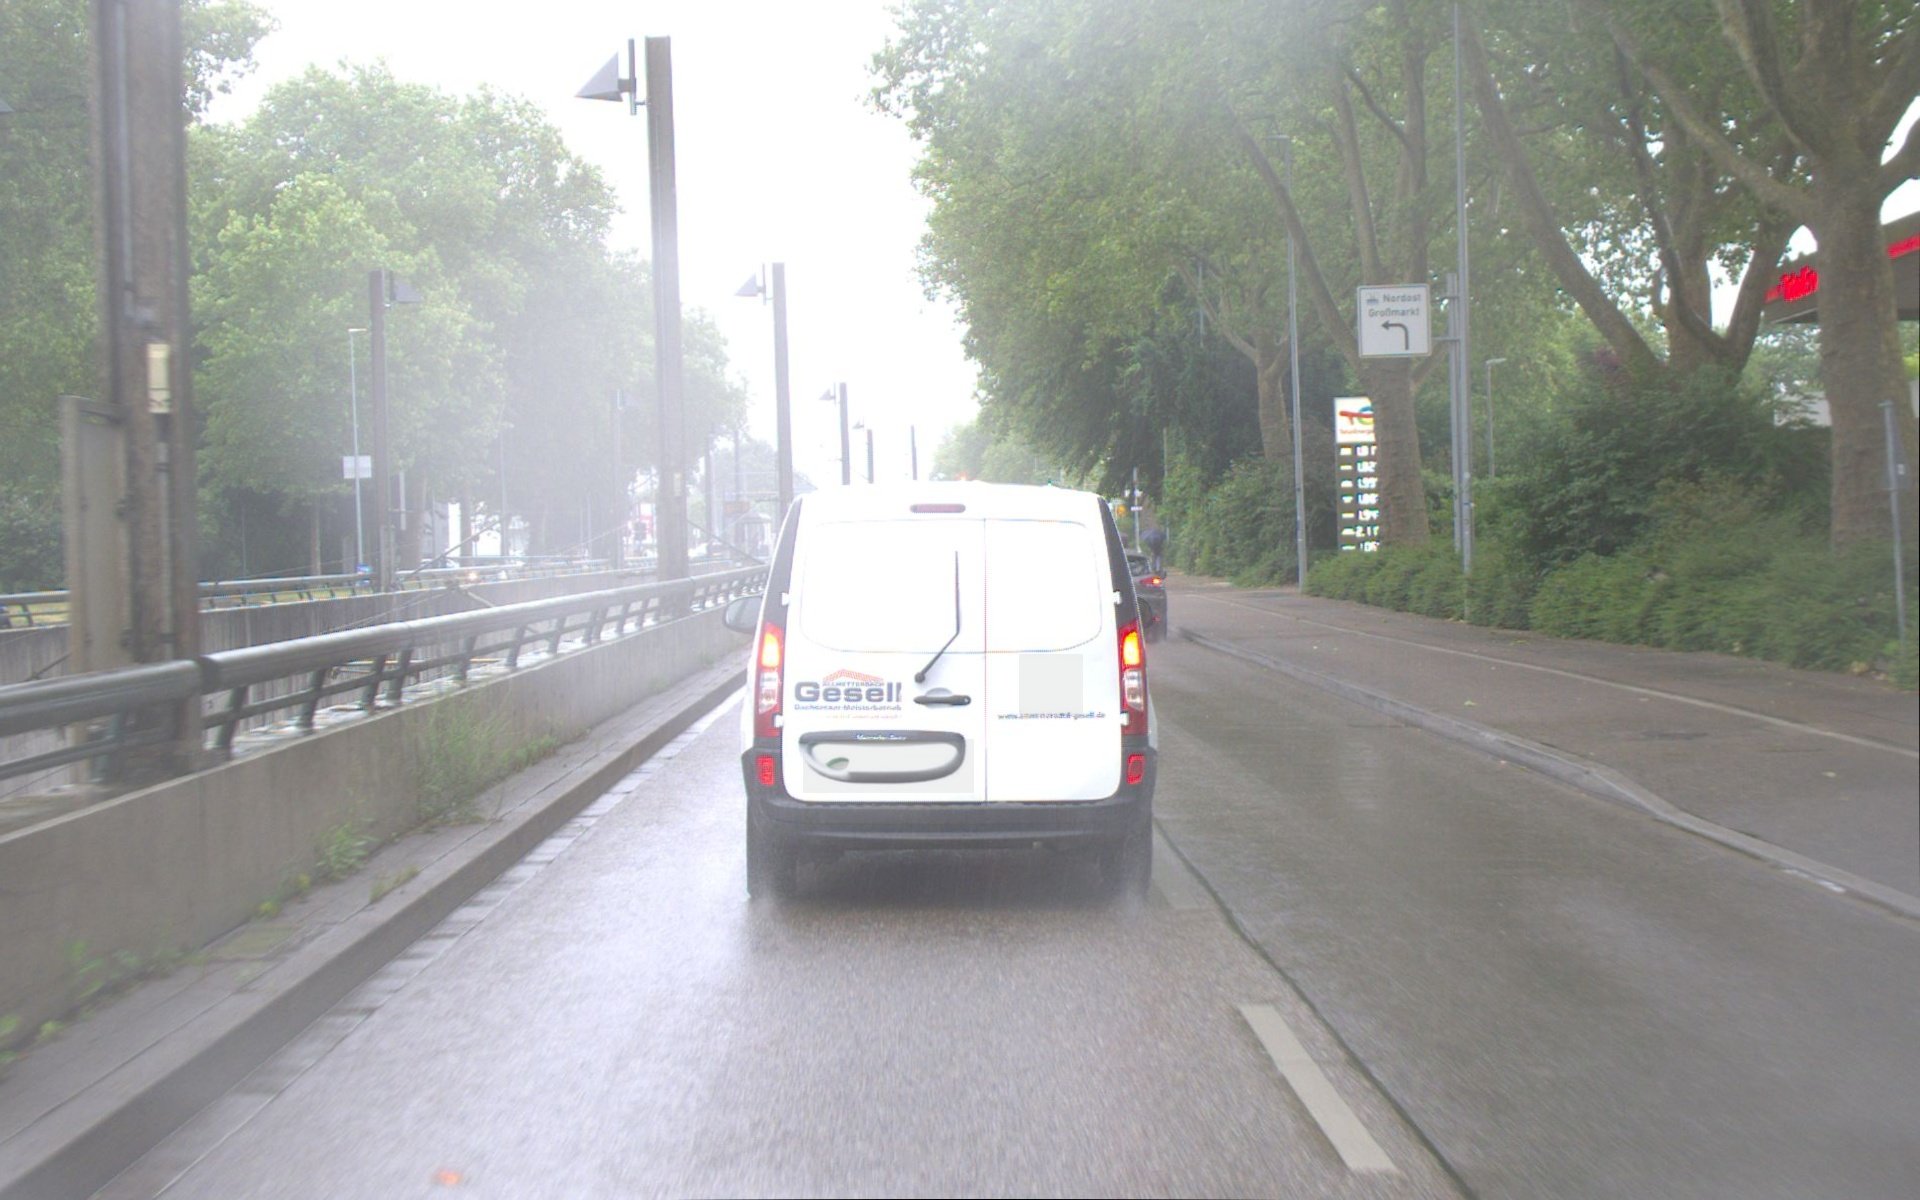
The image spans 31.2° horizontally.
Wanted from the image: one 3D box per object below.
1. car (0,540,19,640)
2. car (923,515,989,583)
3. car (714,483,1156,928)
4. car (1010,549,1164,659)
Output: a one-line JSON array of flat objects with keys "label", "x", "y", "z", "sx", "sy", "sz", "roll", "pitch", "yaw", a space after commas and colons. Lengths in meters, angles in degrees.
[{"label": "car", "x": -15.979, "y": -0.115, "z": 52.731, "sx": 1.907, "sy": 1.566, "sz": 4.000, "roll": -2, "pitch": 1, "yaw": 1}, {"label": "car", "x": -0.120, "y": -1.641, "z": 112.337, "sx": 2.048, "sy": 2.133, "sz": 4.000, "roll": -1, "pitch": 0, "yaw": 1}, {"label": "car", "x": -0.148, "y": 0.390, "z": 15.895, "sx": 1.756, "sy": 1.771, "sz": 4.000, "roll": 1, "pitch": 1, "yaw": -1}, {"label": "car", "x": 1.942, "y": 0.046, "z": 53.568, "sx": 1.993, "sy": 1.579, "sz": 4.000, "roll": -2, "pitch": 0, "yaw": -3}]
